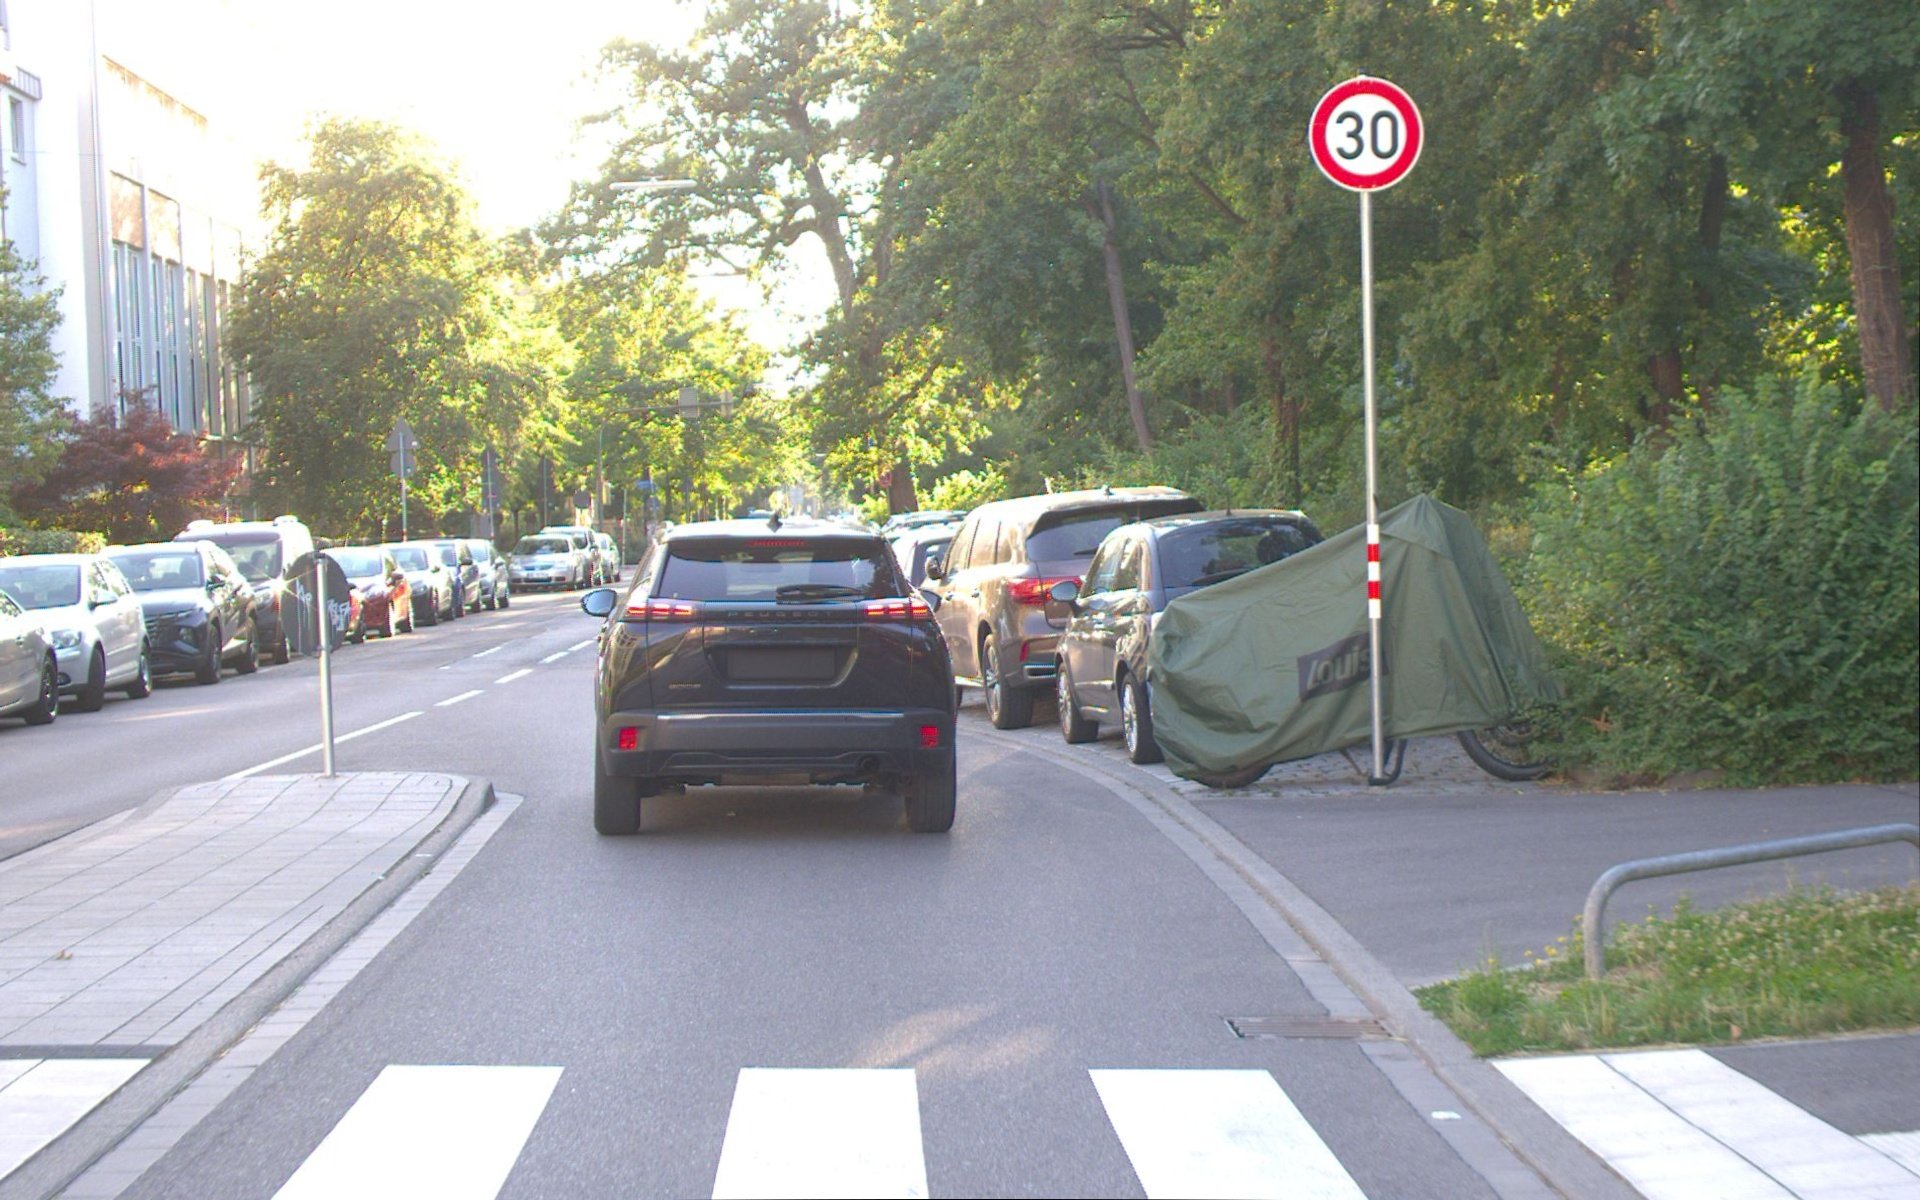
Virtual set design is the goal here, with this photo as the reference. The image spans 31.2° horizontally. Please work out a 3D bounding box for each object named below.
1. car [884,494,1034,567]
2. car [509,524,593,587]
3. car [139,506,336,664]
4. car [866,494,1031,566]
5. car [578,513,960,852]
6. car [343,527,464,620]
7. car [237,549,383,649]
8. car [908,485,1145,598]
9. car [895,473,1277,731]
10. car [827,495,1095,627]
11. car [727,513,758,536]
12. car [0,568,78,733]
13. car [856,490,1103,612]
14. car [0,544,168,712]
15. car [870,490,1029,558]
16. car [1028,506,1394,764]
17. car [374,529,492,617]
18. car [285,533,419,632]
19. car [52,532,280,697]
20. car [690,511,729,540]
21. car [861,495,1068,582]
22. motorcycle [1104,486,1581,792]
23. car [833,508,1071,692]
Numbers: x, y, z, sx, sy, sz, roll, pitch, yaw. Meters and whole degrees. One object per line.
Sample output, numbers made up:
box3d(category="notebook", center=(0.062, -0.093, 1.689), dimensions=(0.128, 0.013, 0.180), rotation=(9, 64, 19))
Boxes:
box3d(category="car", center=(-0.042, -1.727, 85.713), dimensions=(3.588, 1.561, 1.819), rotation=(-4, 1, -2))
box3d(category="car", center=(-10.548, -1.171, 88.857), dimensions=(1.670, 1.488, 4.062), rotation=(-2, 2, -1))
box3d(category="car", center=(-9.607, -0.252, 46.029), dimensions=(1.807, 1.883, 4.239), rotation=(-3, 2, -2))
box3d(category="car", center=(-0.309, -1.805, 88.188), dimensions=(4.122, 1.661, 1.723), rotation=(-2, 2, -1))
box3d(category="car", center=(-1.069, 0.340, 17.713), dimensions=(1.768, 1.563, 3.381), rotation=(-1, 1, -6))
box3d(category="car", center=(-9.978, -0.506, 61.892), dimensions=(1.598, 1.450, 4.056), rotation=(-3, 2, -2))
box3d(category="car", center=(-9.662, -0.045, 51.309), dimensions=(1.556, 1.275, 3.734), rotation=(-3, 2, -2))
box3d(category="car", center=(1.063, -0.965, 56.728), dimensions=(3.725, 1.493, 1.820), rotation=(-5, 1, -1))
box3d(category="car", center=(0.863, -0.039, 26.743), dimensions=(1.921, 1.742, 4.668), rotation=(-3, 2, -10))
box3d(category="car", center=(-0.012, -0.572, 48.990), dimensions=(3.609, 1.520, 1.672), rotation=(-5, 2, -3))
box3d(category="car", center=(-13.807, -4.766, 217.834), dimensions=(1.810, 1.349, 3.980), rotation=(-3, 2, -5))
box3d(category="car", center=(-9.114, 0.483, 29.993), dimensions=(1.742, 1.352, 4.397), rotation=(-3, 2, -1))
box3d(category="car", center=(0.278, -0.795, 54.053), dimensions=(3.666, 1.547, 1.735), rotation=(-5, 2, -3))
box3d(category="car", center=(-9.338, 0.255, 35.050), dimensions=(1.742, 1.528, 4.116), rotation=(-3, 2, -3))
box3d(category="car", center=(-0.257, -2.053, 92.924), dimensions=(4.170, 1.704, 1.867), rotation=(-1, 2, 3))
box3d(category="car", center=(1.560, 0.168, 22.514), dimensions=(1.619, 1.481, 3.420), rotation=(-3, 2, -8))
box3d(category="car", center=(-10.182, -0.545, 66.635), dimensions=(1.598, 1.502, 3.787), rotation=(-3, 2, 1))
box3d(category="car", center=(-9.838, -0.308, 55.861), dimensions=(1.598, 1.450, 3.862), rotation=(-3, 2, -3))
box3d(category="car", center=(-9.308, 0.114, 40.624), dimensions=(1.742, 1.670, 4.417), rotation=(-3, 2, -2))
box3d(category="car", center=(-12.975, -3.861, 177.759), dimensions=(1.810, 1.349, 4.001), rotation=(-3, 2, -6))
box3d(category="car", center=(0.091, -1.355, 74.890), dimensions=(4.337, 1.470, 1.742), rotation=(-5, 3, 0))
box3d(category="motorcycle", center=(2.070, 0.213, 18.573), dimensions=(2.294, 1.539, 1.038), rotation=(-2, 2, 24))
box3d(category="car", center=(-0.146, -0.050, 32.862), dimensions=(1.650, 1.562, 4.302), rotation=(-3, 2, -8))
